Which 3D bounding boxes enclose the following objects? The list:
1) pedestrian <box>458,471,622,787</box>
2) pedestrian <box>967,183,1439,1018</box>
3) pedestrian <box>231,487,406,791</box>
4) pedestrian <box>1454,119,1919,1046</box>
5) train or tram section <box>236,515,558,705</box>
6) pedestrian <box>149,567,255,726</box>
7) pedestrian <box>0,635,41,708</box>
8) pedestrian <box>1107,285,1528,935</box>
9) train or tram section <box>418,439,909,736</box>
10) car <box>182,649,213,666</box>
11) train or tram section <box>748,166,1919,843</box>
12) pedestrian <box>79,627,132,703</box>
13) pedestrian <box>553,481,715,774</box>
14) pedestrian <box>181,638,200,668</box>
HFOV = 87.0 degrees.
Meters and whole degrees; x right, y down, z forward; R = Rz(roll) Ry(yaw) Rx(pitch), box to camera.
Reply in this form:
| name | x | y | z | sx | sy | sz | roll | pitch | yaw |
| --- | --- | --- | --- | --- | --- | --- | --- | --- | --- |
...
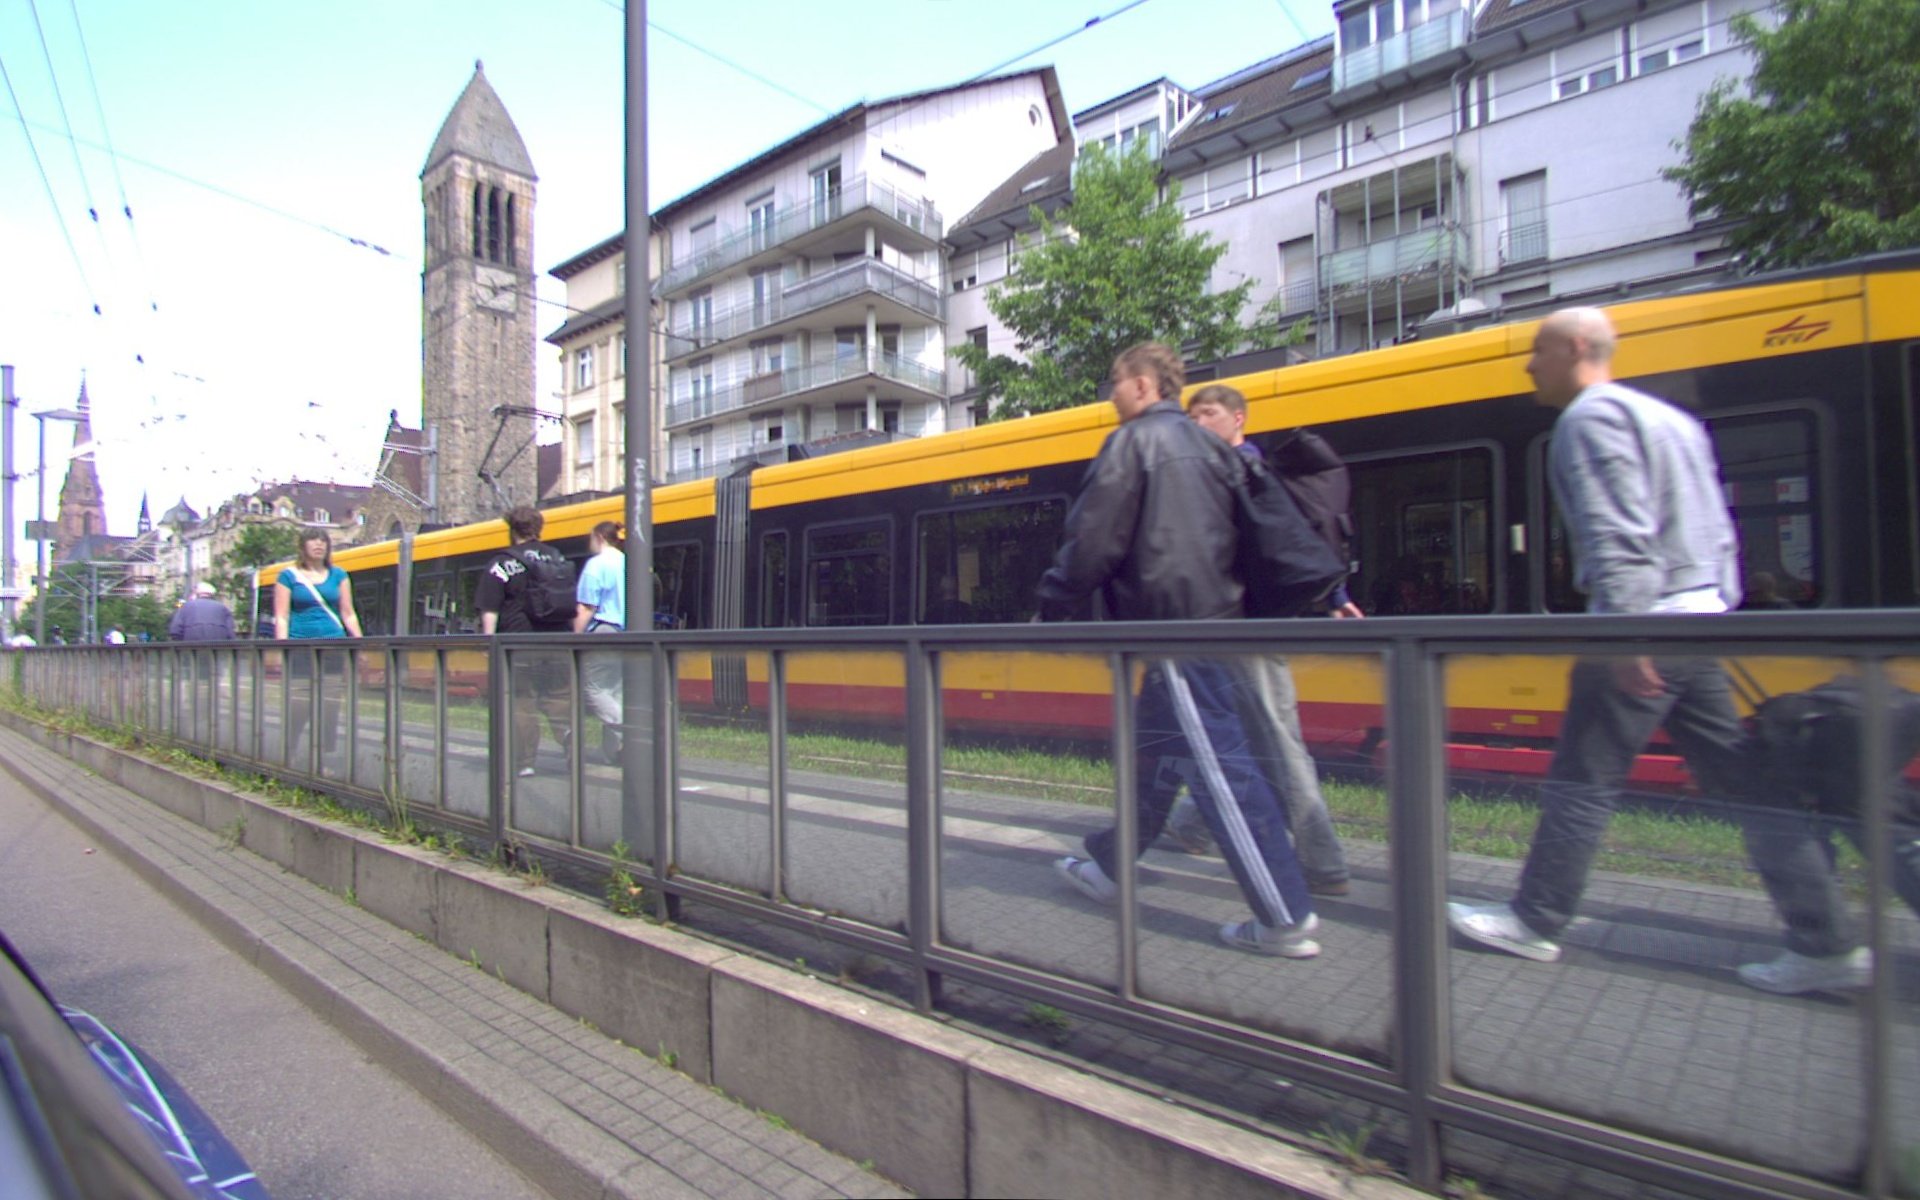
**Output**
| name | x | y | z | sx | sy | sz | roll | pitch | yaw |
| --- | --- | --- | --- | --- | --- | --- | --- | --- | --- |
| pedestrian | -2.696 | 0.184 | 6.489 | 0.789 | 1.863 | 0.694 | -3 | -3 | 41 |
| pedestrian | 0.687 | 0.013 | 2.930 | 1.030 | 1.887 | 0.802 | -3 | -3 | 41 |
| pedestrian | -4.406 | 0.259 | 6.963 | 0.846 | 1.913 | 0.818 | -3 | -3 | 42 |
| pedestrian | 2.111 | -0.030 | 2.363 | 1.494 | 1.814 | 0.877 | -3 | -3 | 41 |
| train or tram section | -14.228 | 0.450 | 24.640 | 13.011 | 3.611 | 2.777 | -3 | -3 | 42 |
| pedestrian | -8.986 | 0.541 | 11.995 | 0.876 | 1.788 | 0.848 | -3 | -3 | 42 |
| pedestrian | -22.122 | 1.660 | 23.758 | 0.615 | 1.678 | 0.678 | 0 | -2 | -23 |
| pedestrian | 1.194 | 0.043 | 3.466 | 1.132 | 1.814 | 0.704 | -3 | -3 | 41 |
| train or tram section | -5.529 | 0.048 | 16.818 | 10.400 | 3.611 | 2.766 | -3 | -3 | 42 |
| car | -75.709 | 5.710 | 100.471 | 3.837 | 1.507 | 1.764 | -4 | -3 | 42 |
| train or tram section | 3.173 | -0.356 | 8.960 | 13.011 | 3.611 | 2.694 | -3 | -3 | 42 |
| pedestrian | -20.766 | 1.571 | 24.593 | 1.045 | 1.794 | 0.839 | -3 | -3 | 42 |
| pedestrian | -2.256 | 0.192 | 6.989 | 0.907 | 1.863 | 0.694 | -3 | -3 | 41 |
| pedestrian | -45.659 | 3.156 | 60.072 | 0.743 | 1.744 | 0.761 | -3 | -3 | 41 |
